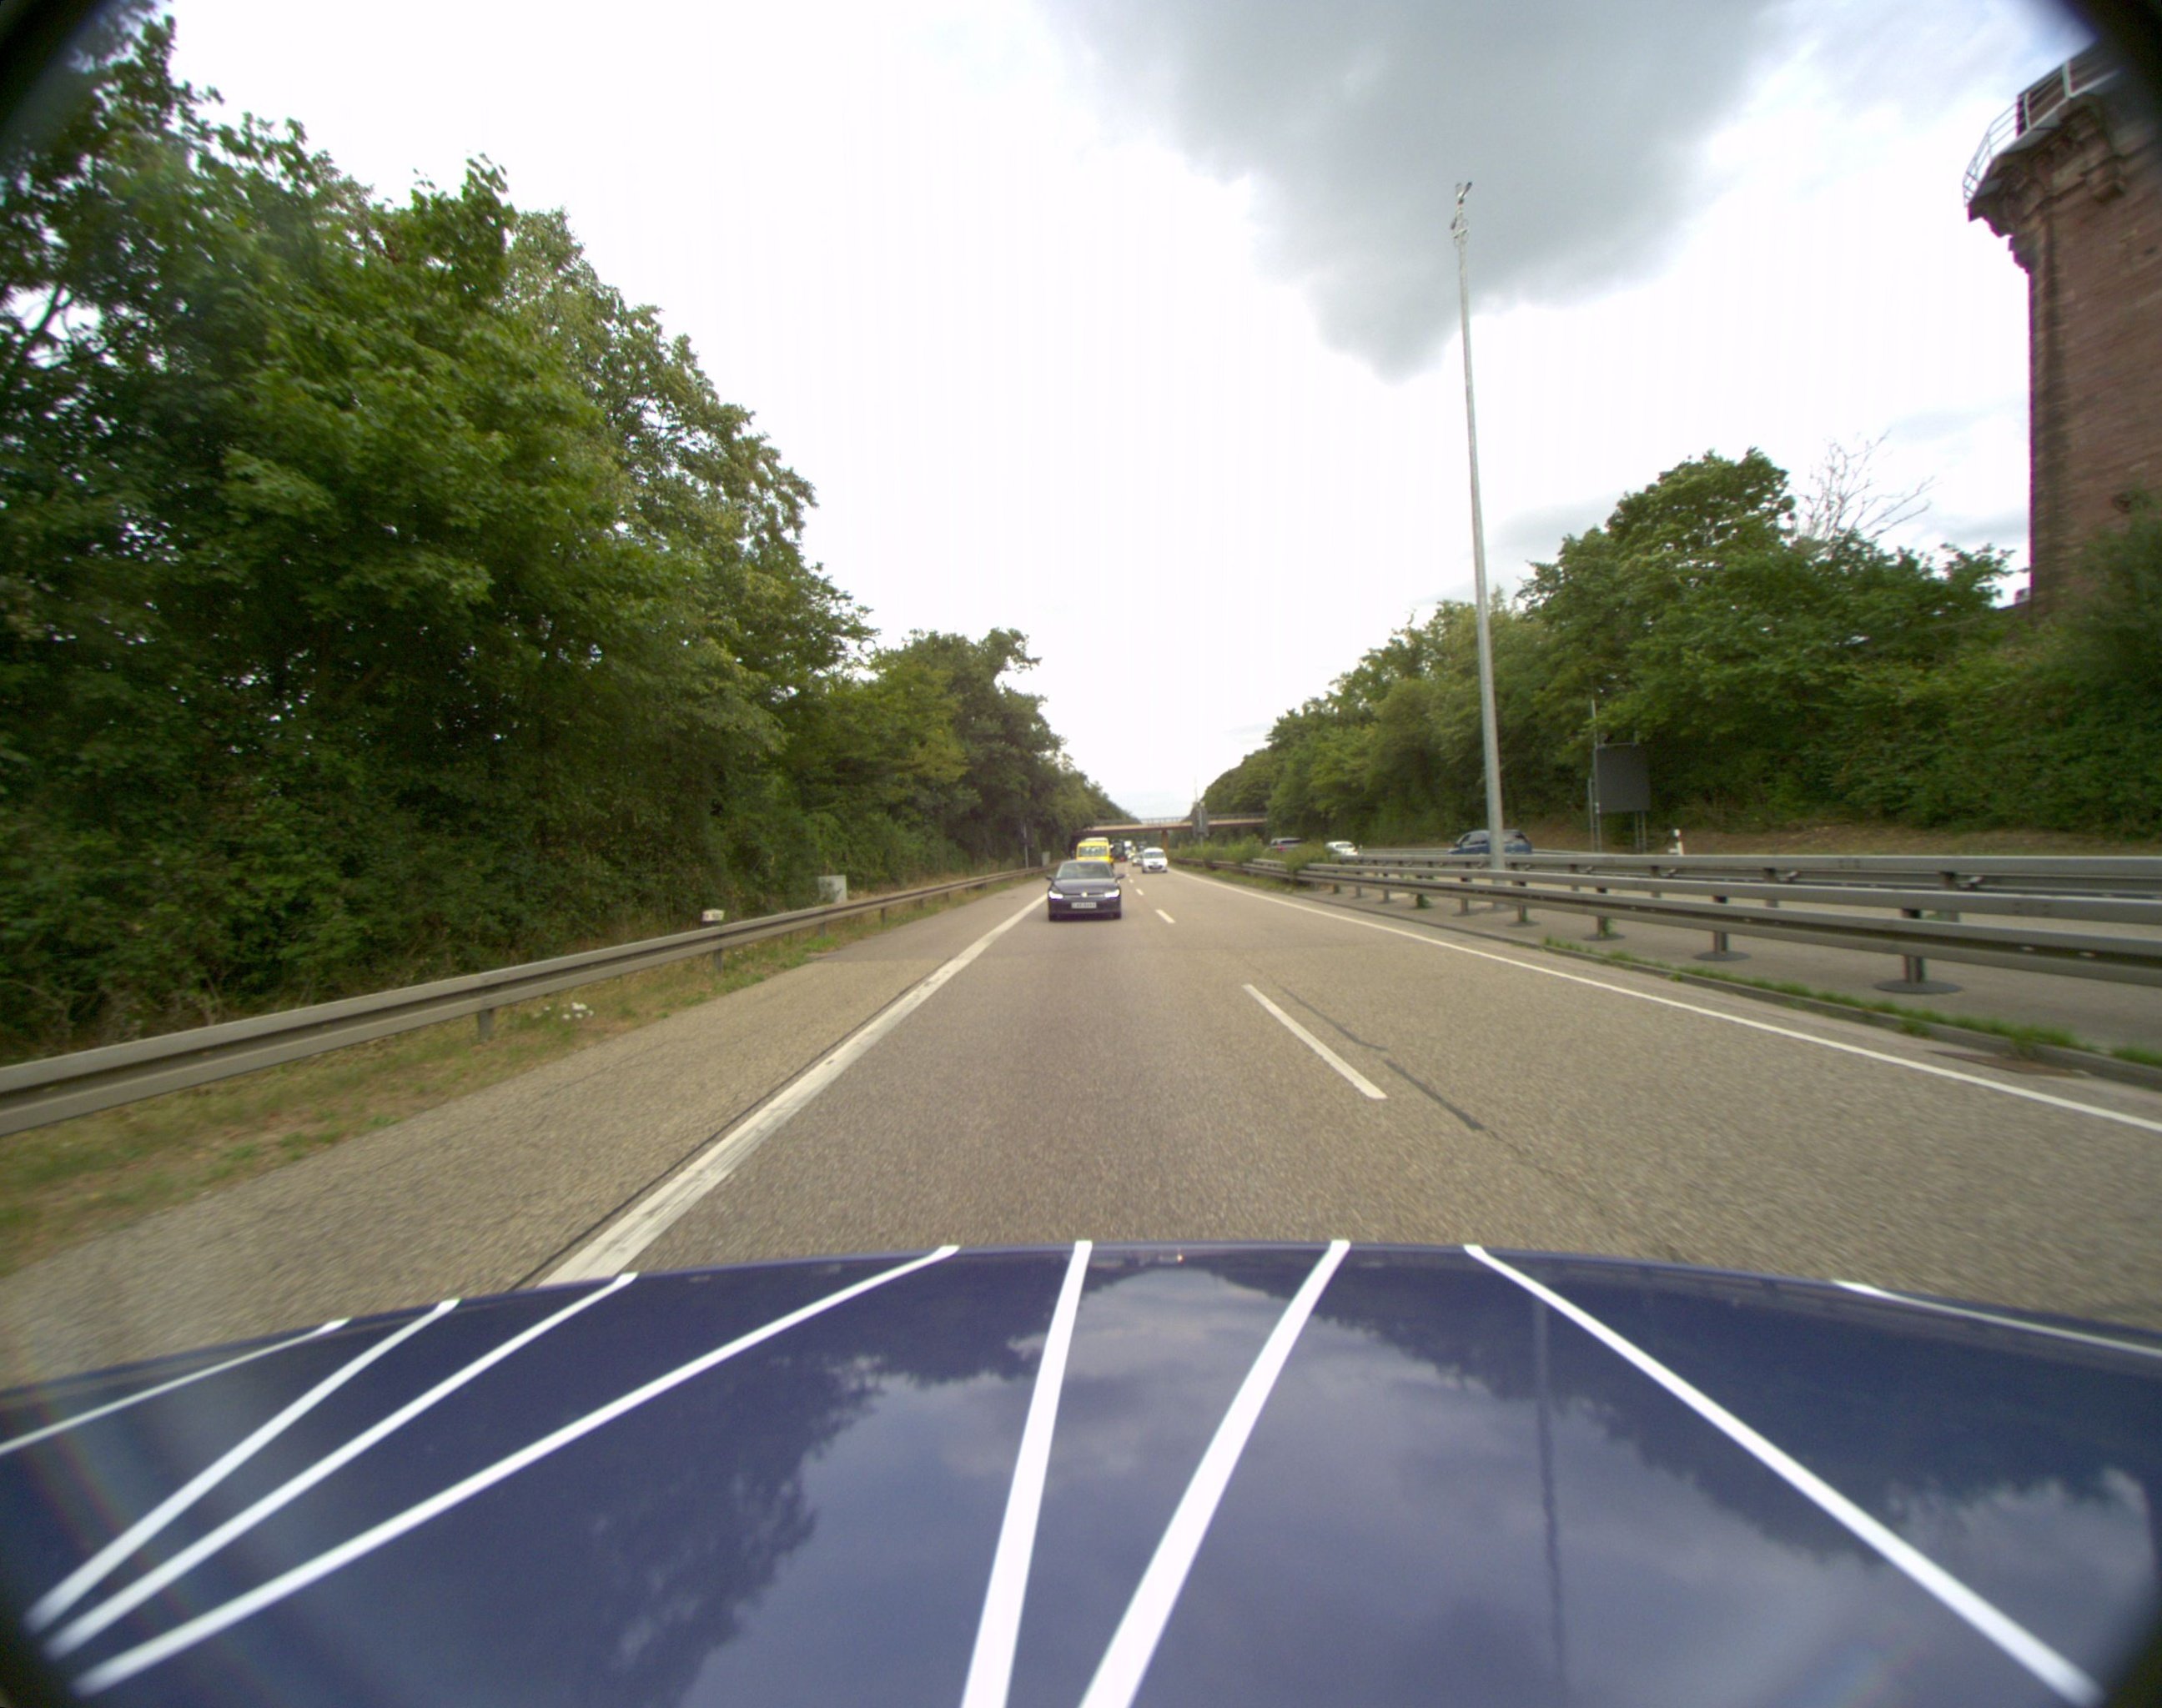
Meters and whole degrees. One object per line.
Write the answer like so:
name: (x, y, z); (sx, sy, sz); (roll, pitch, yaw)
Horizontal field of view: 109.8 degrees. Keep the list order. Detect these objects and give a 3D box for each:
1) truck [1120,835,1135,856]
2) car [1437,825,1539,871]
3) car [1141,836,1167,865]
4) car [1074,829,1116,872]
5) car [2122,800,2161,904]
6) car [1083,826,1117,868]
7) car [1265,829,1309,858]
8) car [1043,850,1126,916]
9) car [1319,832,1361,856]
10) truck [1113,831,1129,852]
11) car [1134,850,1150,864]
truck: (10.653, -1.997, 173.961); (3.098, 4.462, 12.211); (-2, 1, 4)
car: (15.487, -0.251, 29.187); (1.735, 1.592, 4.131); (-2, 1, 1)
car: (5.488, -0.282, 57.366); (1.821, 1.993, 4.424); (-2, 1, 4)
car: (0.876, -0.231, 44.485); (2.247, 2.334, 5.224); (-2, 1, 2)
car: (15.834, -0.028, 8.867); (1.816, 1.442, 4.056); (-2, 1, 0)
car: (1.346, -0.478, 53.340); (2.207, 2.732, 6.167); (-2, 1, 2)
car: (13.228, -0.693, 49.045); (1.765, 1.759, 4.542); (-2, 1, 2)
car: (0.202, 0.644, 19.473); (1.800, 1.398, 4.640); (-2, 1, 4)
car: (17.322, -0.642, 50.926); (1.632, 1.499, 3.728); (-2, 1, 2)
truck: (7.106, -2.150, 133.031); (2.547, 3.564, 6.458); (-2, 1, 4)
car: (6.902, 0.343, 85.971); (1.772, 1.416, 4.199); (-2, 1, 4)
